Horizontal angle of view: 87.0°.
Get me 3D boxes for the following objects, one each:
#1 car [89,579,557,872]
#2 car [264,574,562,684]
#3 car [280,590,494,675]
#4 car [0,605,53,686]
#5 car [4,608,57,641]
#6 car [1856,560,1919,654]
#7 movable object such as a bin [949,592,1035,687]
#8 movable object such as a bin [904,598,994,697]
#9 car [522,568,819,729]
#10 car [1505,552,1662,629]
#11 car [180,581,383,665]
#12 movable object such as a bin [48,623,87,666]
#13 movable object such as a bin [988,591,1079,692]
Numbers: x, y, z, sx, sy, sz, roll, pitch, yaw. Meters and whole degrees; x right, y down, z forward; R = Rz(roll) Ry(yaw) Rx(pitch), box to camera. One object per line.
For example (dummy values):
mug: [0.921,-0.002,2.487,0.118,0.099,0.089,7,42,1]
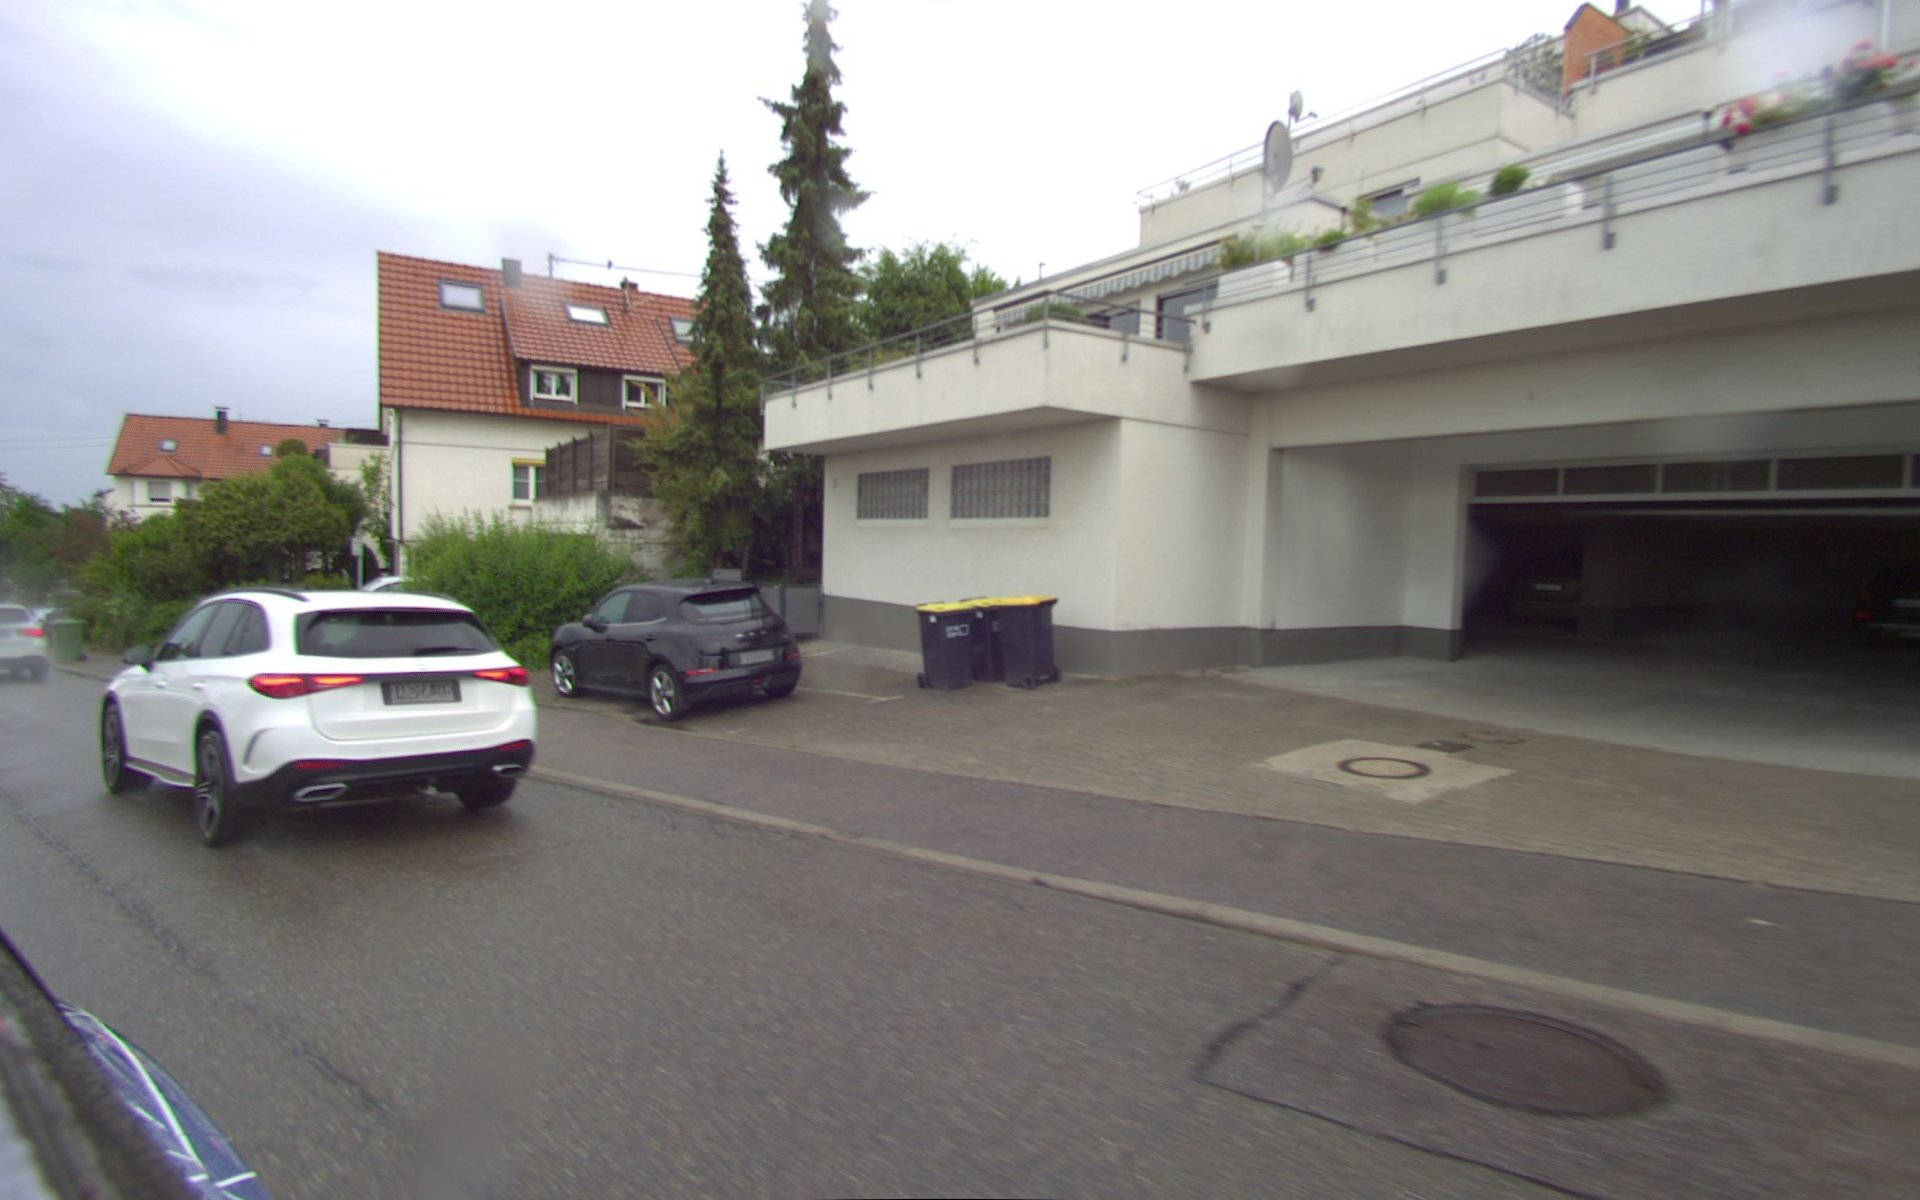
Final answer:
car: [-4.961,0.719,7.605,4.381,1.579,1.780,-1,-2,41]
car: [-10.829,0.533,20.240,5.015,1.959,2.147,0,-1,-33]
car: [-12.828,0.646,22.757,4.000,1.650,1.899,-2,2,-33]
car: [-21.333,0.968,21.874,4.423,1.620,1.887,-1,0,39]
car: [-44.714,1.157,48.745,1.745,1.386,4.253,-4,3,-42]
car: [16.758,0.080,17.083,3.451,1.506,1.791,-1,3,-37]
movable object such as a bin: [0.398,0.471,12.660,0.715,1.078,0.769,-5,4,-31]
movable object such as a bin: [-0.140,0.553,12.399,0.715,1.078,0.852,-5,4,-31]
car: [-3.846,0.534,13.028,4.198,1.599,1.671,-1,6,44]
car: [13.189,-0.244,21.348,3.451,1.506,1.679,-1,3,-37]
car: [-16.960,0.511,25.412,4.002,1.704,1.898,-5,3,-36]
movable object such as a bin: [-23.195,1.151,26.298,0.697,1.072,0.597,-1,1,36]
movable object such as a bin: [0.864,0.468,12.007,0.715,1.078,0.769,-5,4,-31]
